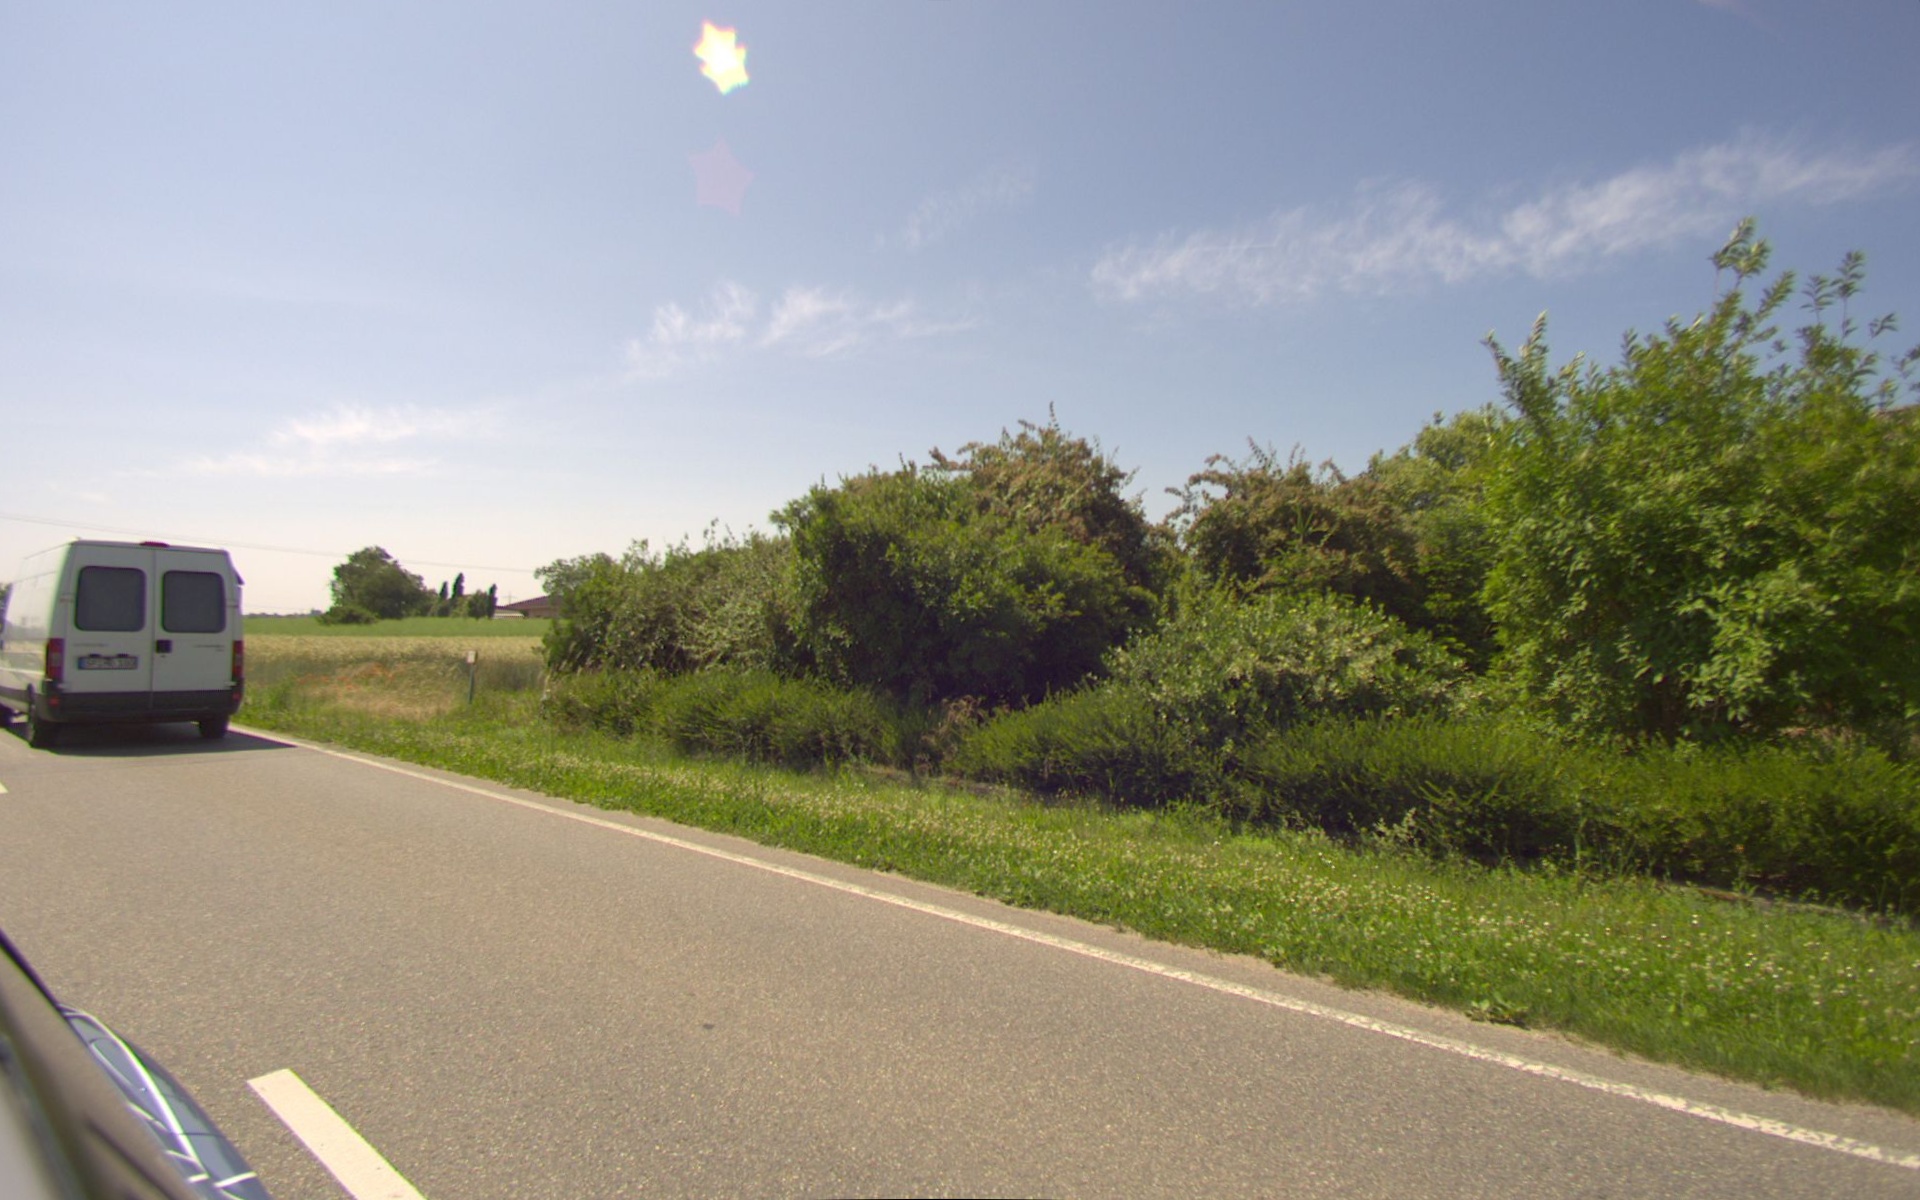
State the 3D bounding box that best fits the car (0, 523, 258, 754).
[{"bbox_3d":[-11.848,0.536,13.964,5.869,2.562,2.056,-2,-4,41],"label":"car"}]
